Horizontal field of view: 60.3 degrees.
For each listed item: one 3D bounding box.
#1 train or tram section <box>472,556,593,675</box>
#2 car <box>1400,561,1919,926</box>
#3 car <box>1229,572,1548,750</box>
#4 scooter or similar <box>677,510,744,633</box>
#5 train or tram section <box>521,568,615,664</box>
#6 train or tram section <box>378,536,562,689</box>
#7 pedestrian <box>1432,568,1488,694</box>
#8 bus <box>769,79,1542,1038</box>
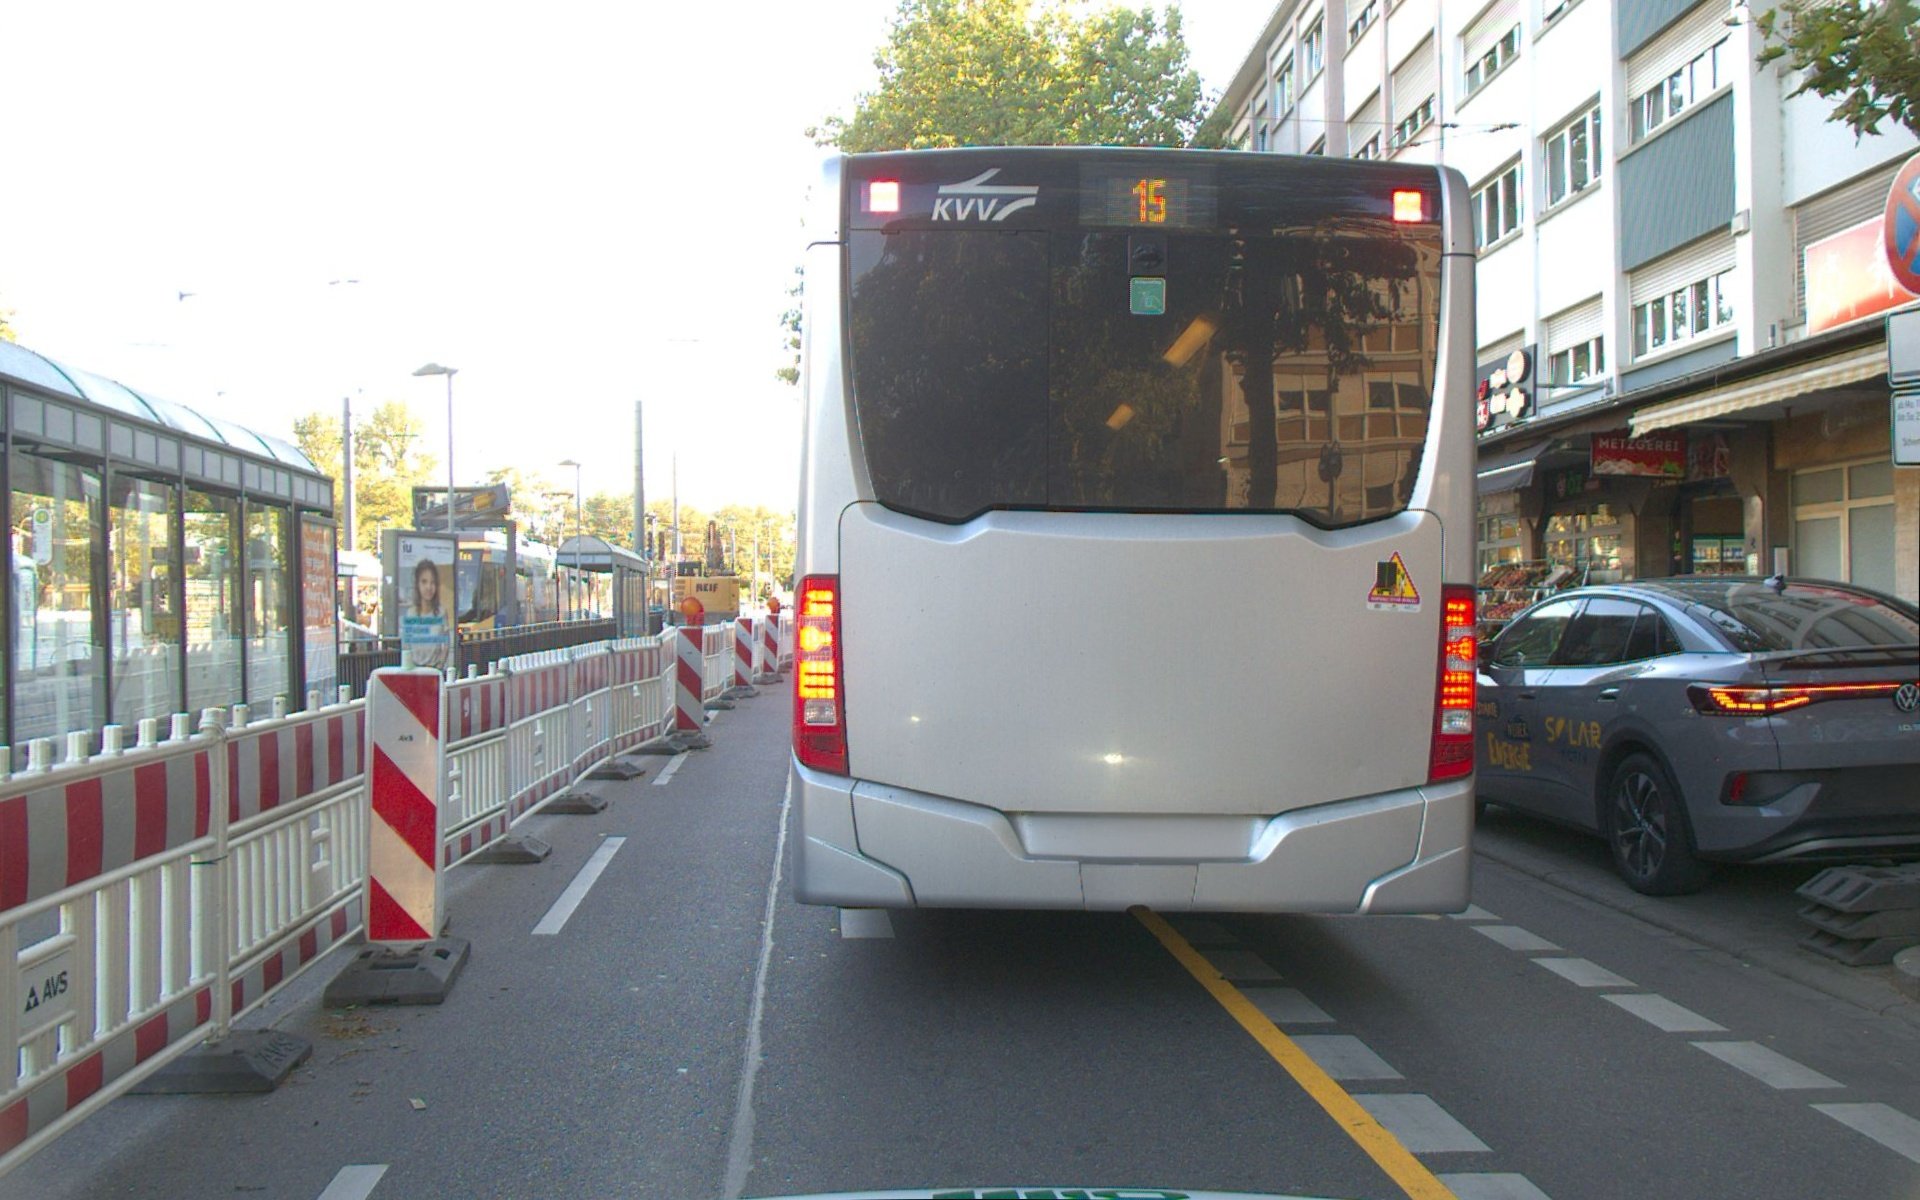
[{"bbox_3d":[-14.426,0.497,56.661,2.636,3.621,11.560,1,0,-8],"label":"train or tram section"},{"bbox_3d":[4.371,0.629,9.846,1.955,1.609,4.363,-3,1,-5],"label":"car"},{"bbox_3d":[4.475,0.568,18.040,1.955,1.609,4.363,-3,1,-5],"label":"car"},{"bbox_3d":[-9.639,-1.053,64.265,2.422,4.549,5.962,0,0,-8],"label":"scooter or similar"},{"bbox_3d":[-15.976,0.629,68.119,2.636,3.594,11.560,1,0,-8],"label":"train or tram section"},{"bbox_3d":[-13.031,0.318,45.130,2.634,3.595,11.756,1,0,-6],"label":"train or tram section"},{"bbox_3d":[6.915,0.428,22.892,0.649,1.696,0.601,-2,-1,15],"label":"pedestrian"},{"bbox_3d":[0.617,-0.124,9.580,2.558,3.181,7.991,1,0,-1],"label":"bus"}]
